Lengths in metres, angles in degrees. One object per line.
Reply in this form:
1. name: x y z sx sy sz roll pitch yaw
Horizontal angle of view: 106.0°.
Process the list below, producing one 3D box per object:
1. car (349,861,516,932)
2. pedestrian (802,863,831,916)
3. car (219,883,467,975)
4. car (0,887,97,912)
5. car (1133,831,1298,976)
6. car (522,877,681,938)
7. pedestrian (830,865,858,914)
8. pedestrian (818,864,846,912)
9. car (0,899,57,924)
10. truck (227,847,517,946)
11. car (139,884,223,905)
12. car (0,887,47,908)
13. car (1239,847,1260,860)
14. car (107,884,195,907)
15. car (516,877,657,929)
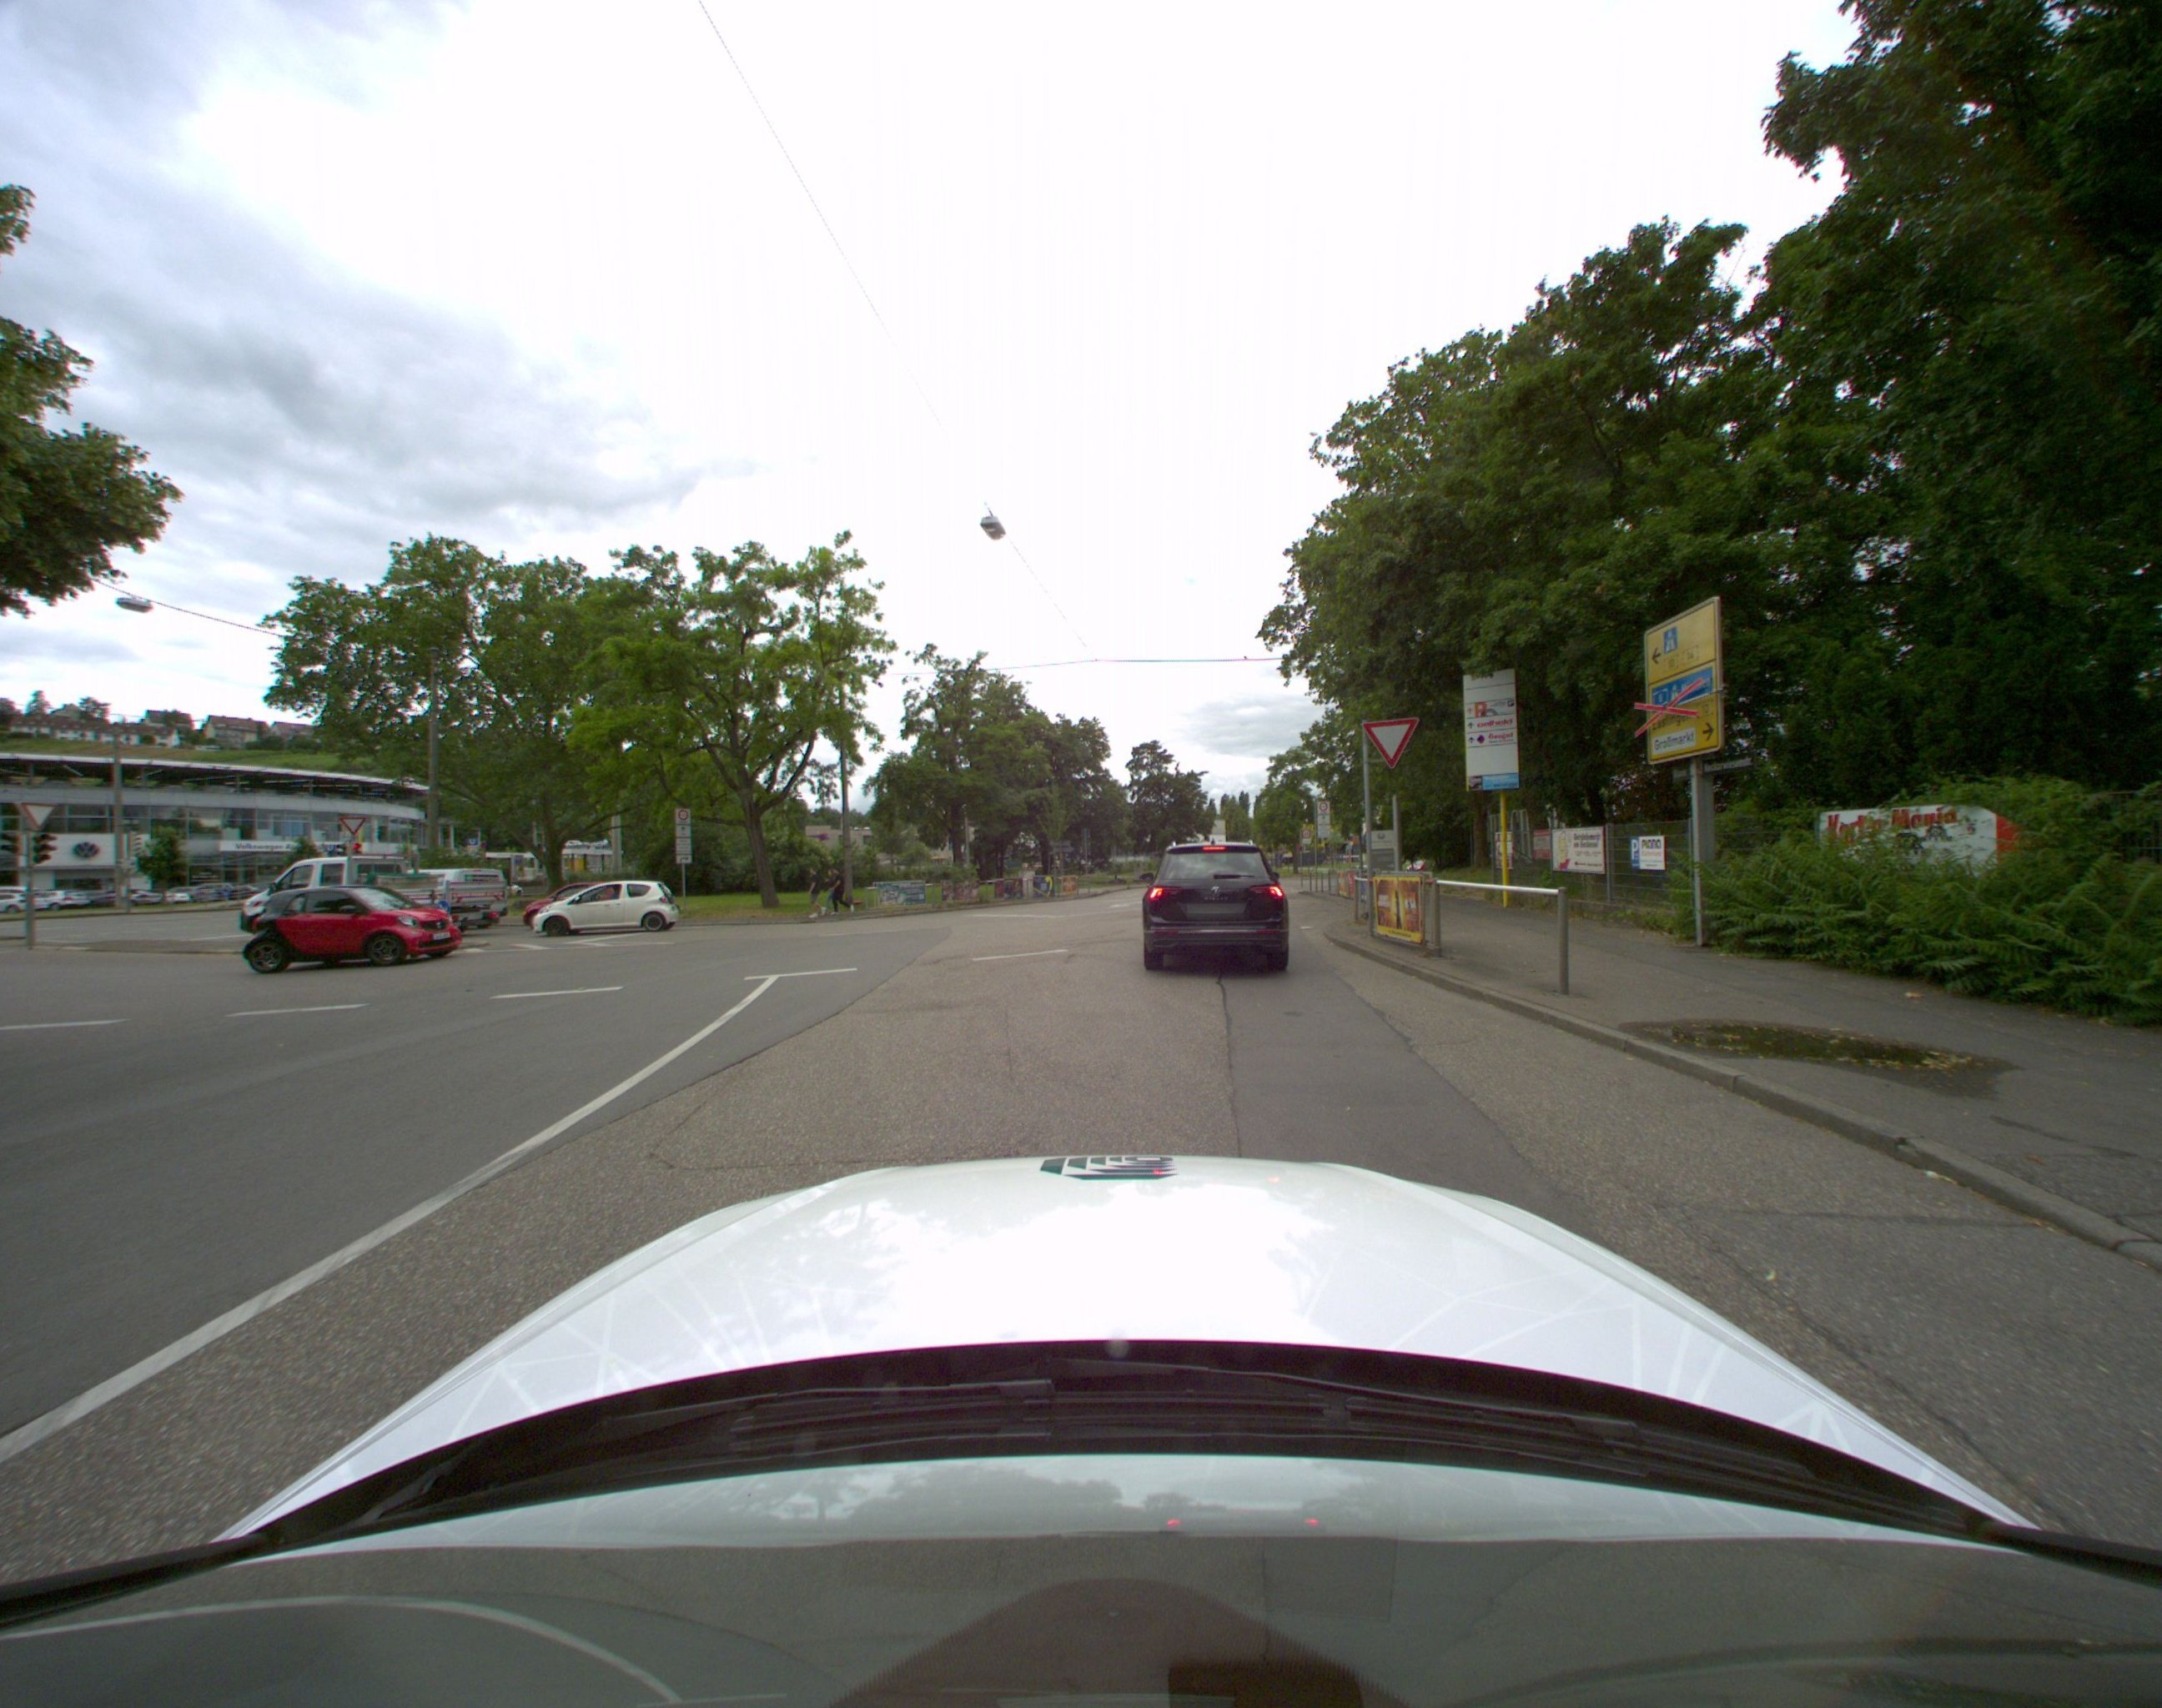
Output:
1. car: -21.321 1.394 26.799 4.707 2.107 2.006 -2 0 19
2. pedestrian: -9.416 1.254 29.021 0.784 1.857 0.694 -2 0 -3
3. car: -13.934 1.375 15.571 3.011 1.465 1.711 -2 0 -11
4. car: -71.100 3.118 55.911 4.206 1.492 1.788 -2 -1 -14
5. car: 1.739 0.574 11.364 1.835 1.635 4.192 -1 0 6
6. car: -13.130 1.433 22.522 3.427 1.432 1.635 -2 0 -17
7. pedestrian: -8.648 1.292 29.726 0.784 1.714 0.694 -2 0 -3
8. pedestrian: -9.284 1.254 30.387 0.784 1.740 0.694 -2 0 -3
9. car: -70.831 3.823 53.531 4.017 1.501 1.766 -2 -1 -16
10. truck: -19.695 1.135 22.869 5.986 2.397 2.431 -2 0 1
11. car: -72.391 3.264 65.577 4.206 1.492 1.788 -2 -1 -14
12. car: -81.588 3.299 61.301 4.227 1.492 1.779 -2 -1 -30
13. car: 26.445 -0.035 127.900 1.945 2.014 4.245 -1 -1 29
14. car: -72.181 3.209 63.246 4.206 1.492 1.788 -2 -1 -14
15. car: -15.517 1.511 25.645 3.404 1.457 1.646 -2 -2 4
